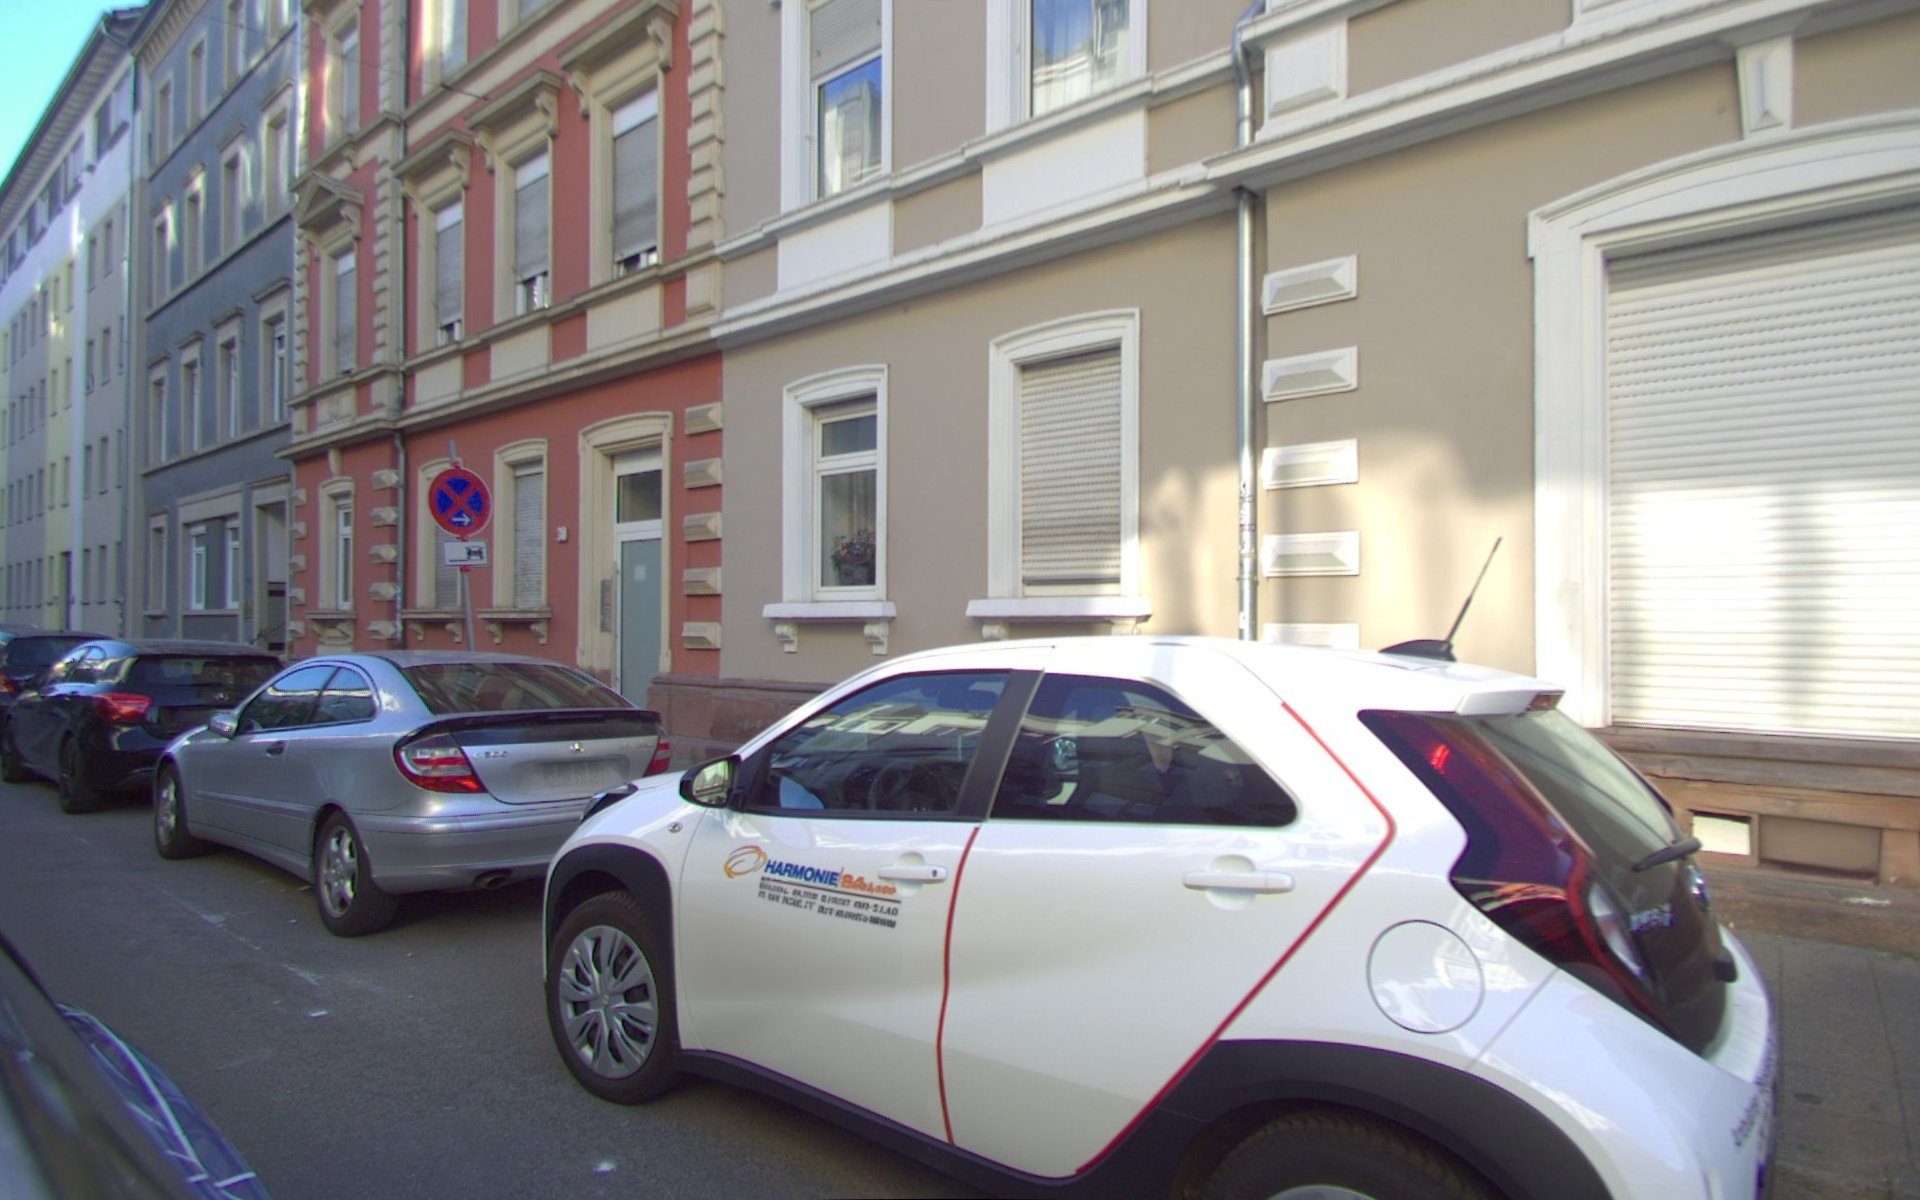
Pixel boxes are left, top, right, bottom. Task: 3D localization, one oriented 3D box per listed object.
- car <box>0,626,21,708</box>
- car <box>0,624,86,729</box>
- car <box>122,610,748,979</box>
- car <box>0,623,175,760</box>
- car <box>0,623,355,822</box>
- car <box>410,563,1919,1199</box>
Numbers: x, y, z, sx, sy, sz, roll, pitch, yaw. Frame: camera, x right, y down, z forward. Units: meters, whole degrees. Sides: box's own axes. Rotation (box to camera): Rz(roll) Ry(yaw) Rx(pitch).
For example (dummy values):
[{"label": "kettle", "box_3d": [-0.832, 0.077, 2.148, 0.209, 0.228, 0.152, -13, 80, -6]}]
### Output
[{"label": "car", "box_3d": [-20.642, 1.312, 20.324, 4.261, 1.572, 1.902, -2, -4, 38]}, {"label": "car", "box_3d": [-16.106, 1.209, 16.557, 4.261, 1.572, 1.902, -2, -4, 38]}, {"label": "car", "box_3d": [-3.494, 0.935, 6.426, 4.261, 1.572, 1.902, -2, -4, 38]}, {"label": "car", "box_3d": [-12.351, 1.149, 13.544, 4.235, 1.572, 1.882, -2, -4, 38]}, {"label": "car", "box_3d": [-7.760, 1.031, 9.729, 4.261, 1.495, 1.902, -2, -4, 38]}, {"label": "car", "box_3d": [0.124, 0.824, 3.275, 4.264, 1.519, 1.901, -2, -5, 40]}]
